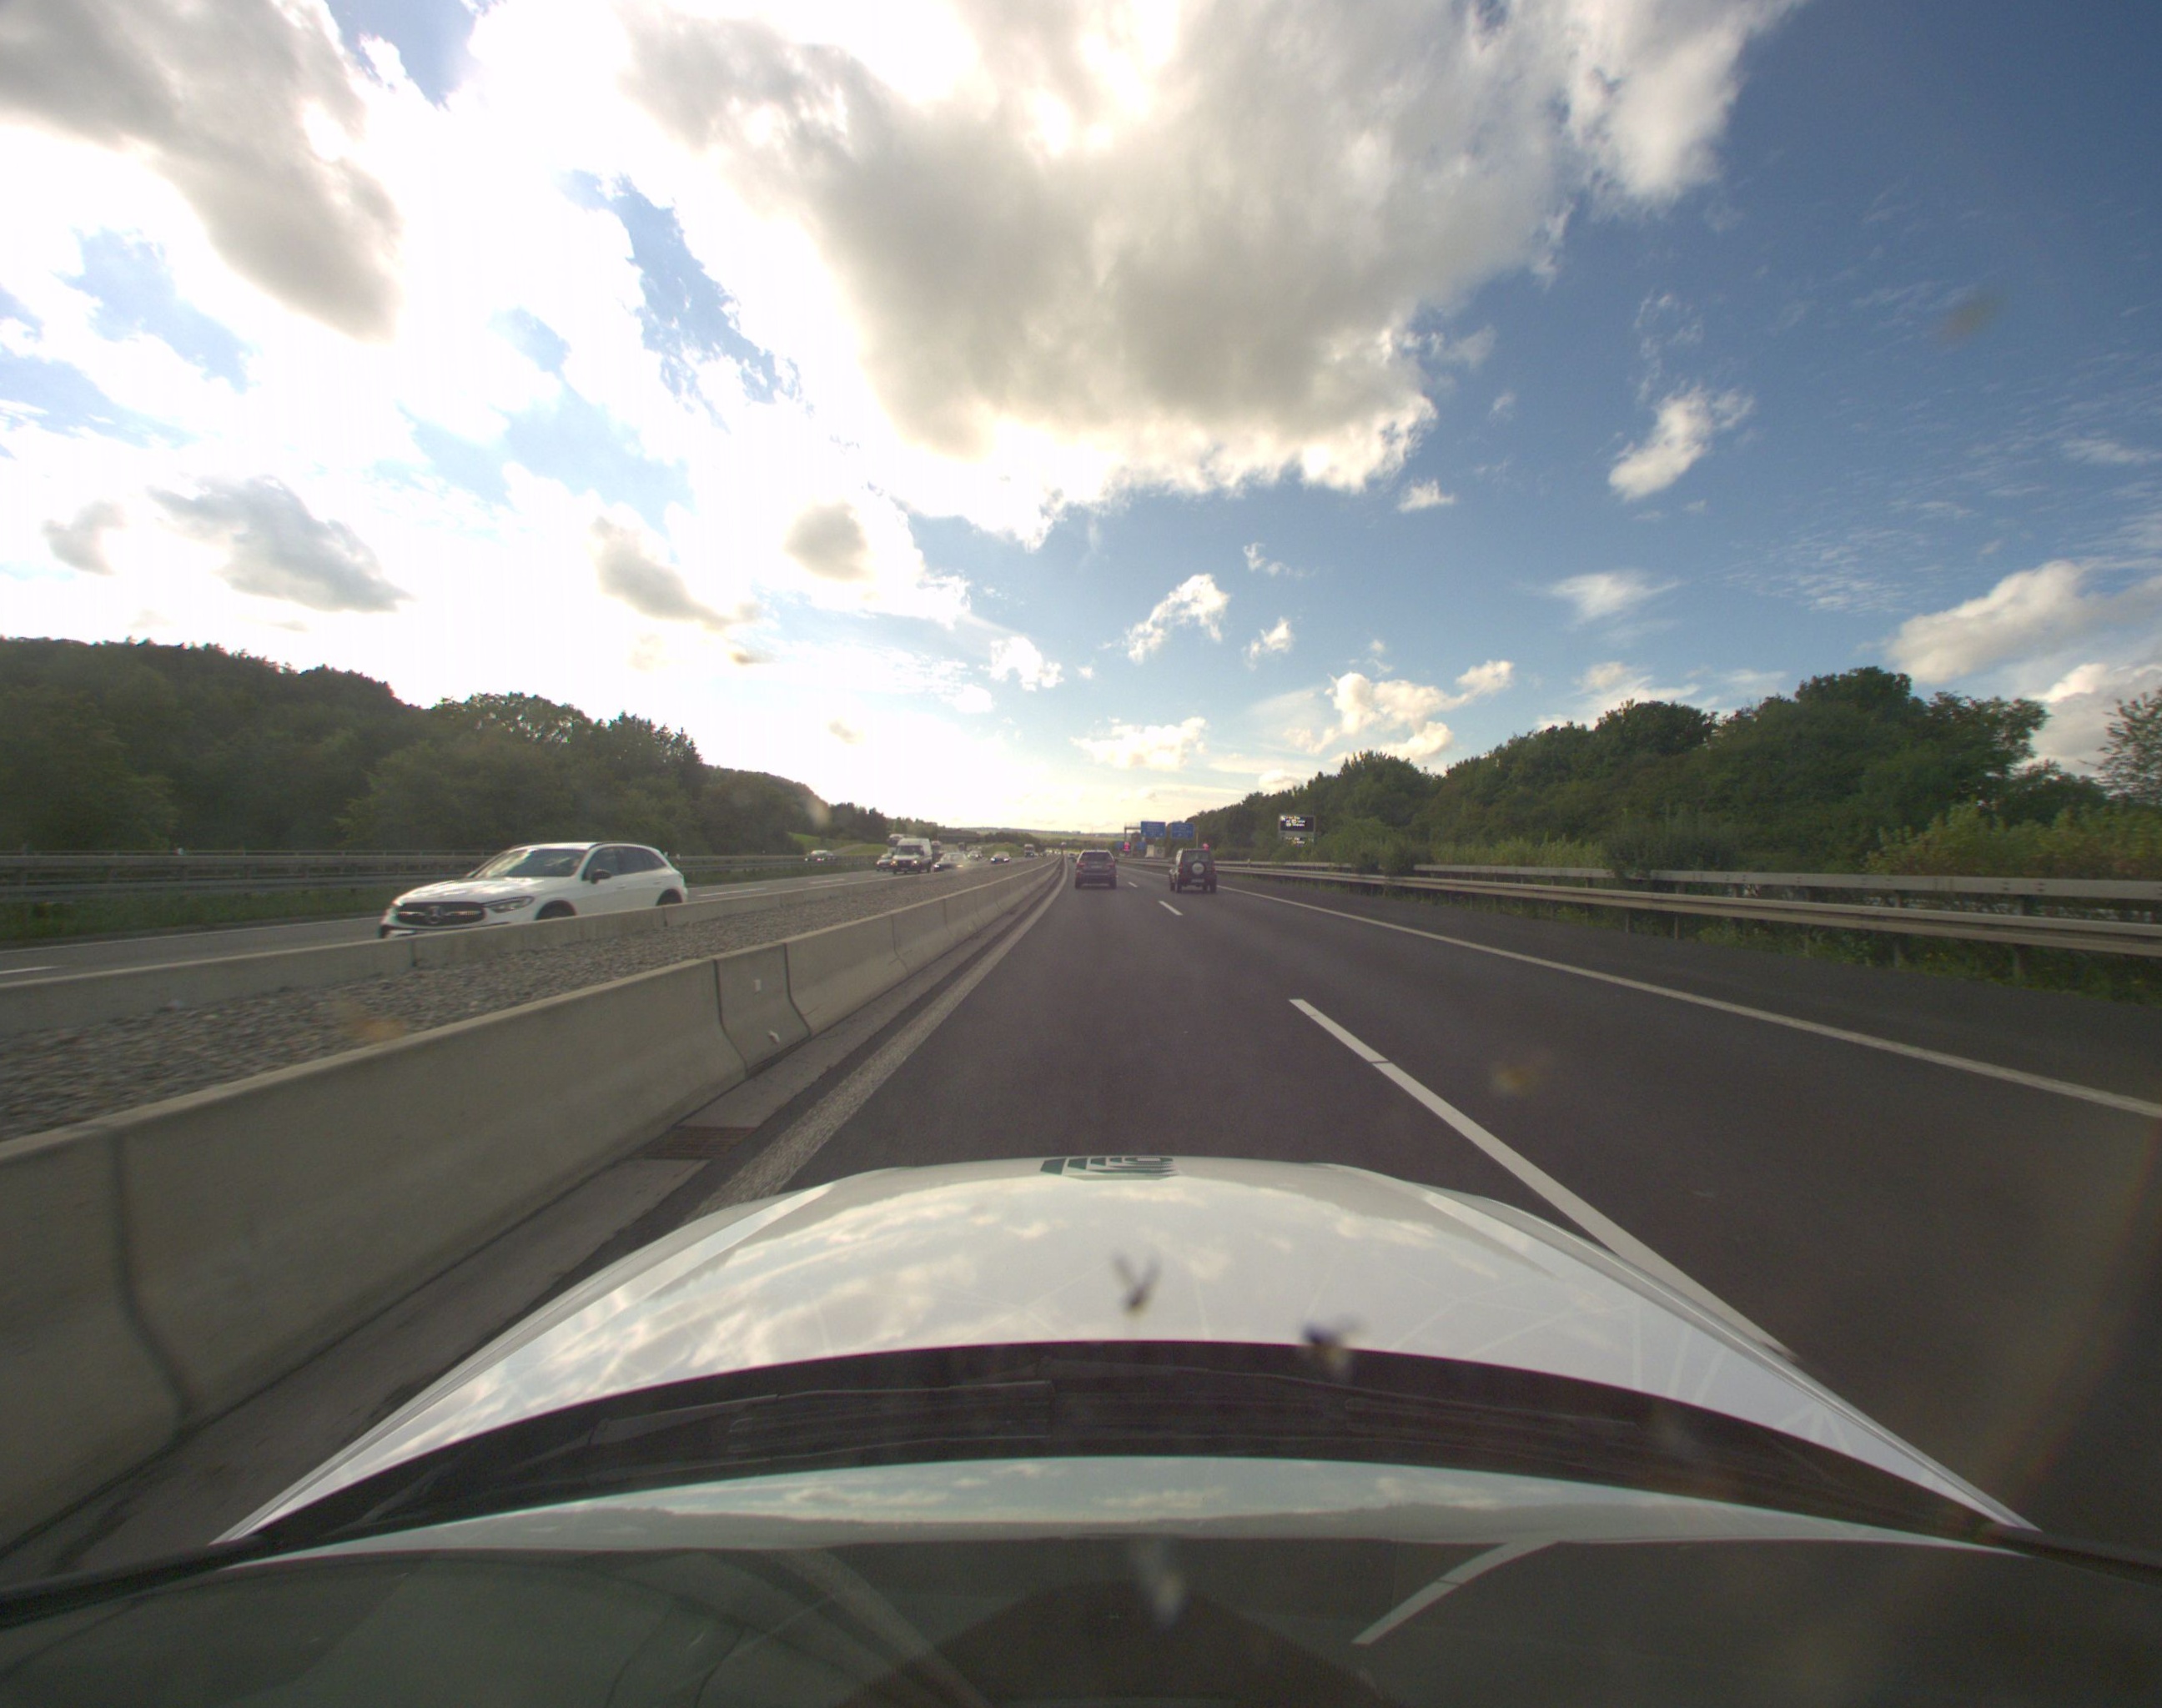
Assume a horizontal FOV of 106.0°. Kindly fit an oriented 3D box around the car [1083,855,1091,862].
[{"bbox_3d":[1.839,1.336,238.901,1.989,1.929,3.994,0,-2,-4],"label":"car"}]

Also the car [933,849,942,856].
[{"bbox_3d":[-39.664,-0.339,224.824,1.990,2.013,4.265,0,0,-5],"label":"car"}]

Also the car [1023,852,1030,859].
[{"bbox_3d":[-16.529,0.362,247.180,1.990,2.030,4.265,0,0,-5],"label":"car"}]

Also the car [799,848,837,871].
[{"bbox_3d":[-23.735,0.455,73.632,1.987,2.013,4.273,0,0,0],"label":"car"}]

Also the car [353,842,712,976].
[{"bbox_3d":[-7.762,0.681,12.365,1.836,1.611,5.137,0,0,2],"label":"car"}]

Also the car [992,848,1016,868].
[{"bbox_3d":[-7.923,0.438,83.977,1.987,2.013,4.273,0,0,0],"label":"car"}]

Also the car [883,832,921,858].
[{"bbox_3d":[-29.500,-1.403,134.965,3.809,4.080,14.811,0,0,-3],"label":"car"}]

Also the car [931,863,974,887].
[{"bbox_3d":[-8.073,1.284,51.528,1.918,1.435,4.777,0,0,1],"label":"car"}]

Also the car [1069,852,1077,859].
[{"bbox_3d":[-2.147,0.321,218.510,1.988,1.684,3.997,0,-2,-2],"label":"car"}]

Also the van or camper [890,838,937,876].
[{"bbox_3d":[-12.309,0.192,60.202,1.980,2.624,6.863,0,0,1],"label":"van or camper"}]

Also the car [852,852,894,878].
[{"bbox_3d":[-13.918,0.730,54.789,1.720,1.699,4.152,0,0,0],"label":"car"}]

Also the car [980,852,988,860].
[{"bbox_3d":[-21.878,0.498,183.200,1.604,1.789,4.265,0,0,-5],"label":"car"}]

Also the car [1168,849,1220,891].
[{"bbox_3d":[4.521,0.618,33.076,1.582,1.597,4.095,0,0,0],"label":"car"}]

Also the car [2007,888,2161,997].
[{"bbox_3d":[17.232,1.382,12.419,1.776,1.571,4.028,0,0,3],"label":"car"}]

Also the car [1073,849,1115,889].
[{"bbox_3d":[0.662,0.694,37.999,1.811,1.736,5.188,0,-1,2],"label":"car"}]

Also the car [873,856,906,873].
[{"bbox_3d":[-16.021,0.852,68.239,1.621,1.293,4.755,0,0,1],"label":"car"}]

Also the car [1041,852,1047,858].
[{"bbox_3d":[-11.628,0.349,253.859,1.817,2.013,4.140,0,0,-5],"label":"car"}]

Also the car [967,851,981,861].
[{"bbox_3d":[-19.307,0.423,147.009,1.988,1.790,4.270,0,0,-1],"label":"car"}]

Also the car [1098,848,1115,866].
[{"bbox_3d":[3.058,0.363,99.630,2.023,2.151,4.001,0,0,1],"label":"car"}]

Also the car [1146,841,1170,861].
[{"bbox_3d":[18.035,-0.585,191.923,4.712,4.266,11.402,0,-2,1],"label":"car"}]
